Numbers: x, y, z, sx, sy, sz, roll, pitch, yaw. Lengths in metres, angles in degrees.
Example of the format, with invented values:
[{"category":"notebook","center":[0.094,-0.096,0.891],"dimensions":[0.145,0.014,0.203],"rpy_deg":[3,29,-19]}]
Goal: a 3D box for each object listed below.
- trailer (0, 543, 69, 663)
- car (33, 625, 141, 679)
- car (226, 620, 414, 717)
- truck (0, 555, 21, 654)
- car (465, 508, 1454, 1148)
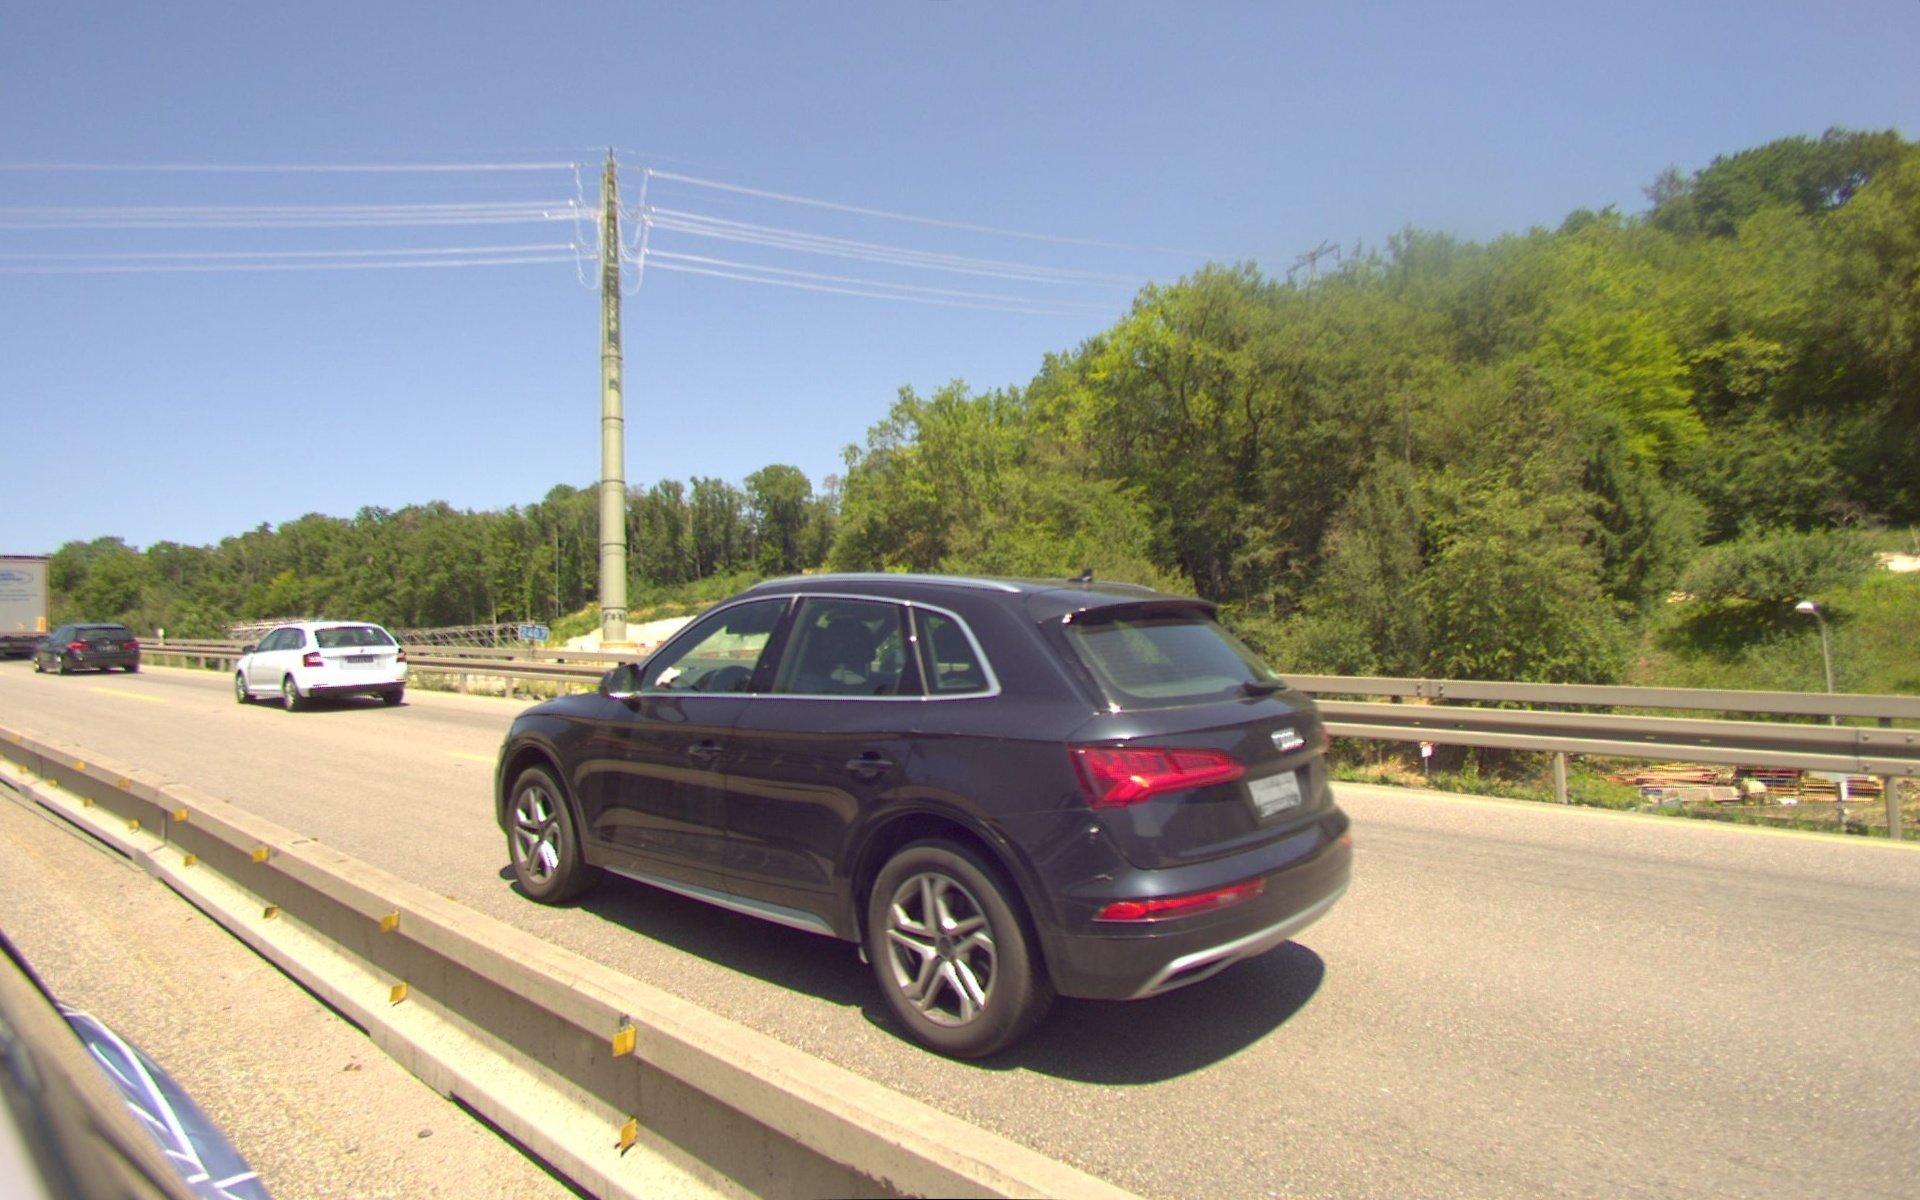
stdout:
[{"category":"trailer","center":[-41.088,0.199,42.496],"dimensions":[12.913,4.520,3.454],"rpy_deg":[-1,0,39]},{"category":"car","center":[-25.542,1.467,29.568],"dimensions":[4.300,1.439,1.758],"rpy_deg":[-1,-1,41]},{"category":"car","center":[-11.246,1.099,17.698],"dimensions":[3.997,1.504,1.682],"rpy_deg":[-1,-2,41]},{"category":"truck","center":[-46.659,0.242,47.076],"dimensions":[7.268,4.455,3.363],"rpy_deg":[-1,0,39]},{"category":"car","center":[-0.377,0.604,4.759],"dimensions":[4.525,1.608,1.897],"rpy_deg":[-1,-1,41]}]
